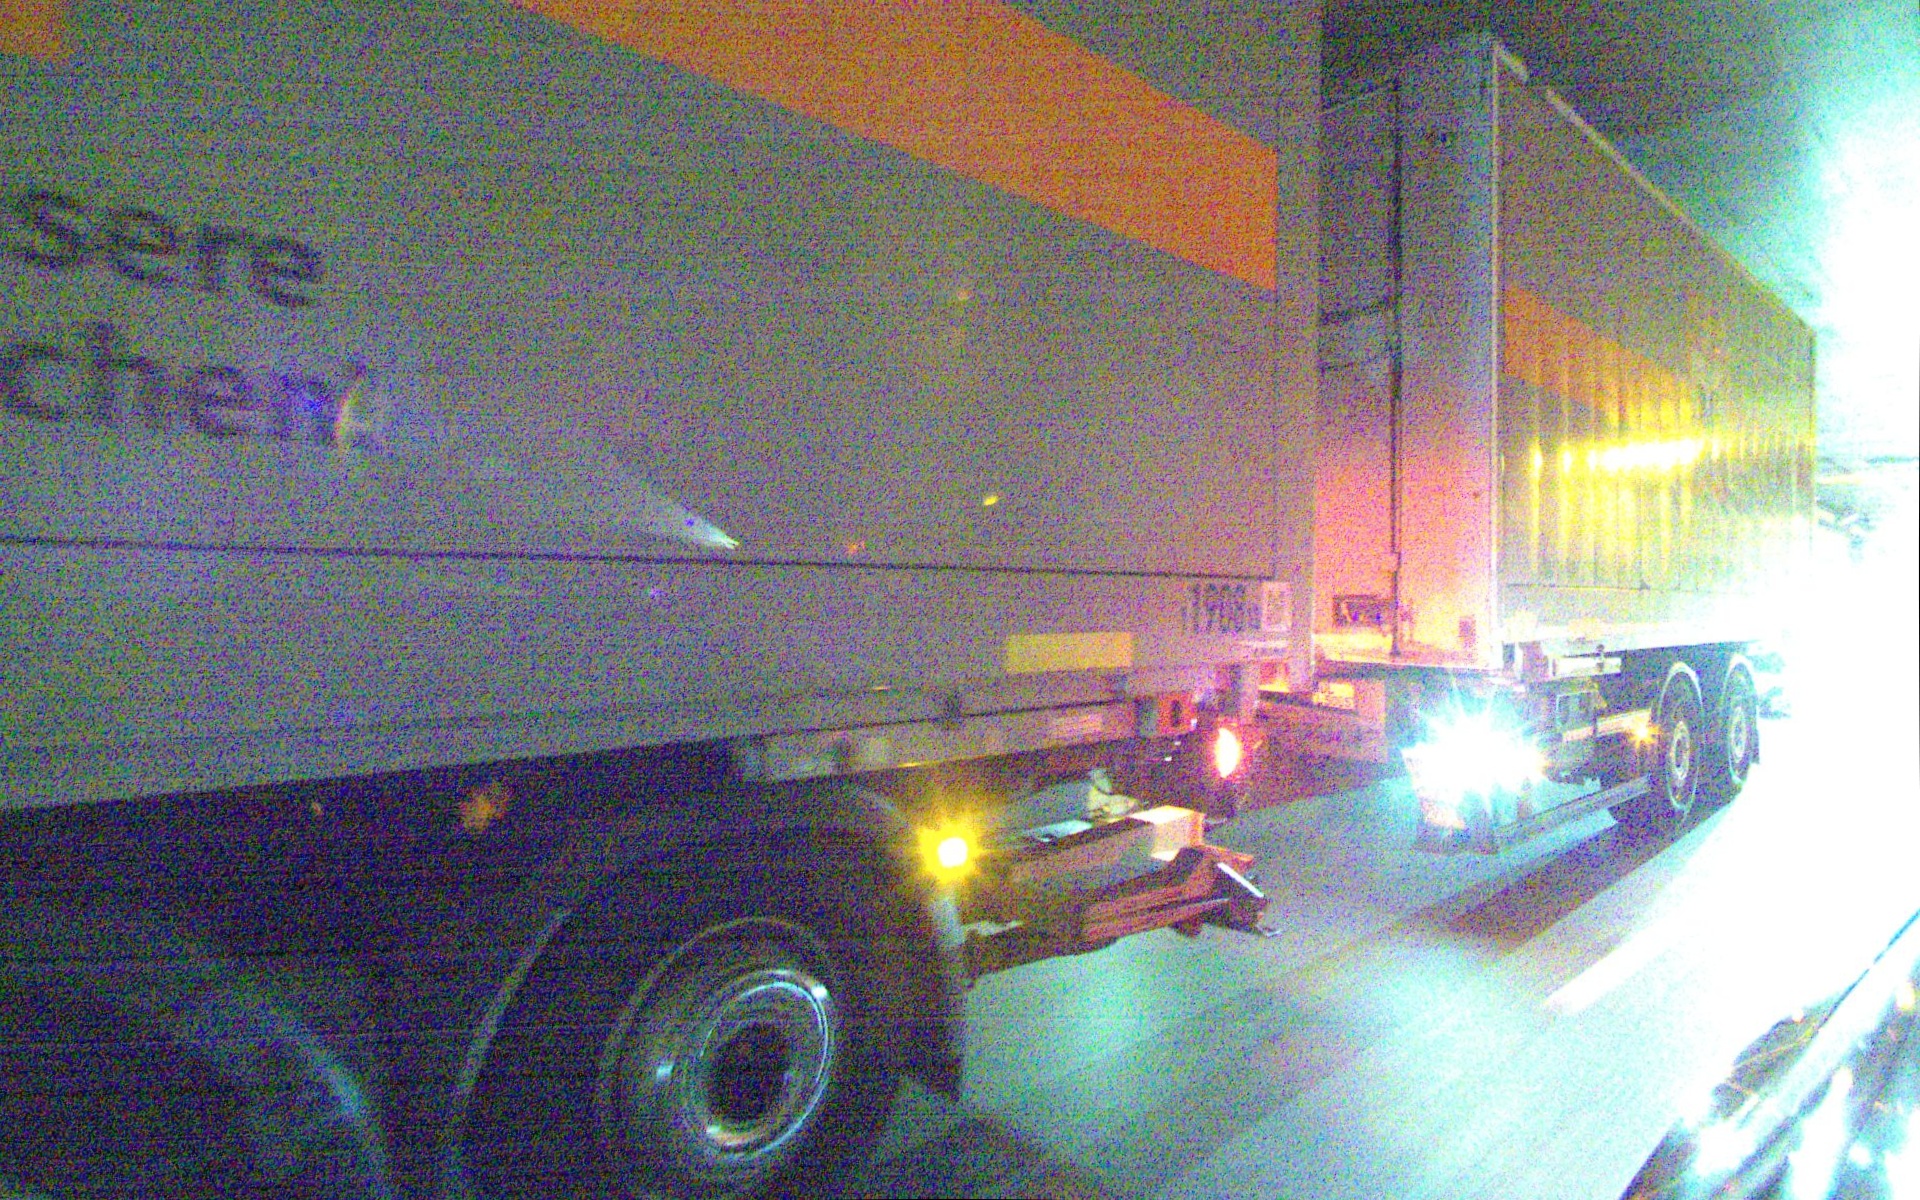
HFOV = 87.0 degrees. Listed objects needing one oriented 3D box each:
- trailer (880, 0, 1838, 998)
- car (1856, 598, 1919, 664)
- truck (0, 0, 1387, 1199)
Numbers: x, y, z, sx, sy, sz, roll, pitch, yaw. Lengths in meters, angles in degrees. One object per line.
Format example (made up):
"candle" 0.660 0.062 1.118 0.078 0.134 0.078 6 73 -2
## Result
"trailer" 3.800 -0.600 7.458 8.792 3.907 2.880 0 0 -41
"car" 22.273 0.672 23.528 3.733 1.421 1.733 0 0 -42
"truck" -3.096 -0.595 1.302 9.738 3.963 2.893 0 0 -42
